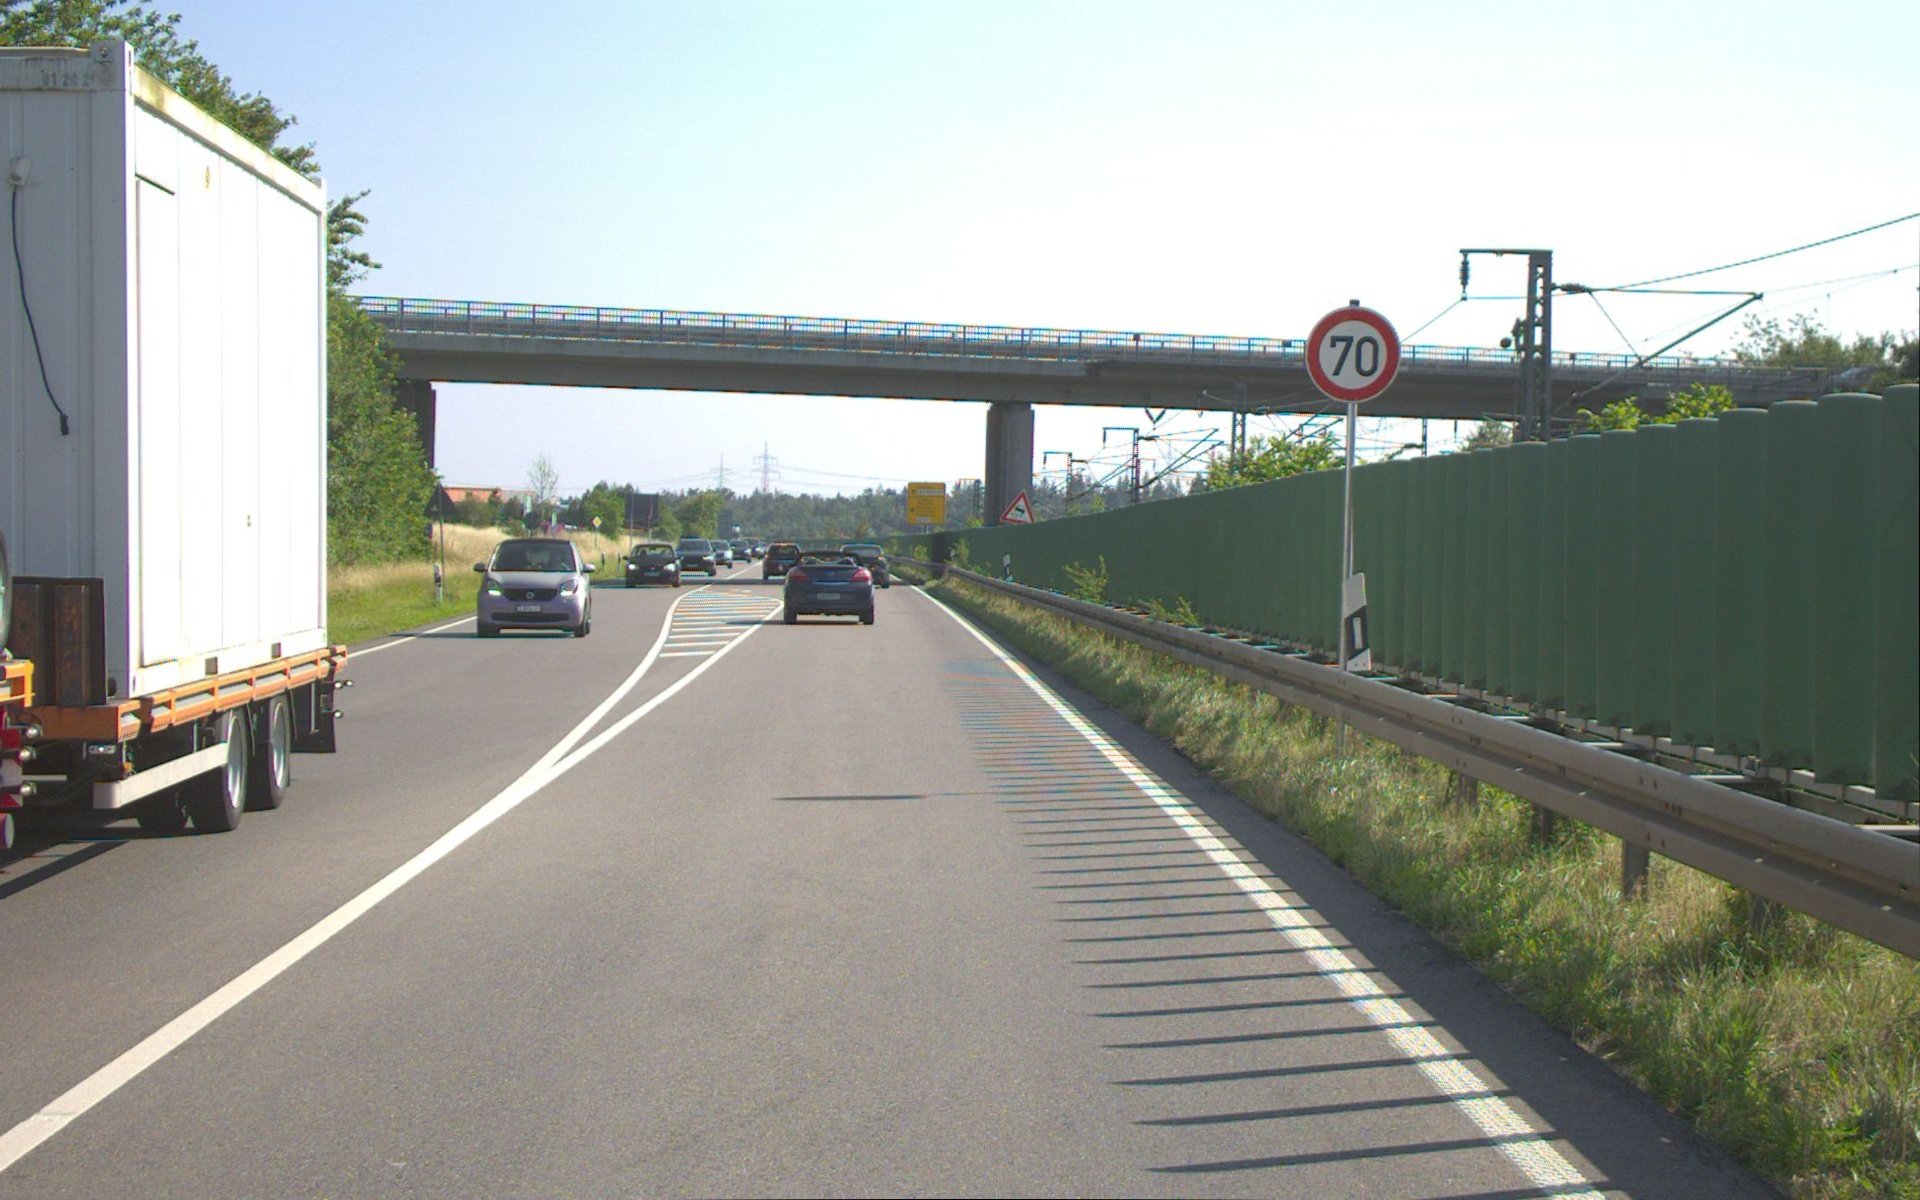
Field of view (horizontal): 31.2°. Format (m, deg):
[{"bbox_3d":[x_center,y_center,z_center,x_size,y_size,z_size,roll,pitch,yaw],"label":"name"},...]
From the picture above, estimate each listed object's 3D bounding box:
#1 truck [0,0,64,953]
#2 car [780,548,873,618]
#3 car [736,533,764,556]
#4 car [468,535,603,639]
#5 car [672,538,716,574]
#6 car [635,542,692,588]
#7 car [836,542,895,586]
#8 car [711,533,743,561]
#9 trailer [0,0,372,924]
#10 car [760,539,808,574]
[{"bbox_3d":[-4.547,-0.503,7.836,2.559,3.676,10.489,1,1,-2],"label":"truck"},{"bbox_3d":[-2.482,-0.327,64.326,1.663,1.257,4.000,1,1,-2],"label":"car"},{"bbox_3d":[-15.102,-4.017,247.277,1.895,1.625,4.000,1,1,-2],"label":"car"},{"bbox_3d":[-6.667,-0.237,54.277,1.856,1.554,4.001,0,1,-3],"label":"car"},{"bbox_3d":[-11.830,-1.972,152.952,1.922,1.587,4.431,0,1,-4],"label":"car"},{"bbox_3d":[-9.795,-1.173,113.685,1.749,1.476,4.001,1,1,-3],"label":"car"},{"bbox_3d":[-3.127,-1.203,113.459,1.895,1.413,4.000,1,1,-2],"label":"car"},{"bbox_3d":[-13.779,-3.143,203.142,1.845,1.625,4.001,1,1,-4],"label":"car"},{"bbox_3d":[-4.839,-0.642,17.302,2.559,3.583,8.293,1,1,-2],"label":"trailer"},{"bbox_3d":[-7.187,-1.788,140.682,1.895,1.413,4.000,1,1,-2],"label":"car"}]
